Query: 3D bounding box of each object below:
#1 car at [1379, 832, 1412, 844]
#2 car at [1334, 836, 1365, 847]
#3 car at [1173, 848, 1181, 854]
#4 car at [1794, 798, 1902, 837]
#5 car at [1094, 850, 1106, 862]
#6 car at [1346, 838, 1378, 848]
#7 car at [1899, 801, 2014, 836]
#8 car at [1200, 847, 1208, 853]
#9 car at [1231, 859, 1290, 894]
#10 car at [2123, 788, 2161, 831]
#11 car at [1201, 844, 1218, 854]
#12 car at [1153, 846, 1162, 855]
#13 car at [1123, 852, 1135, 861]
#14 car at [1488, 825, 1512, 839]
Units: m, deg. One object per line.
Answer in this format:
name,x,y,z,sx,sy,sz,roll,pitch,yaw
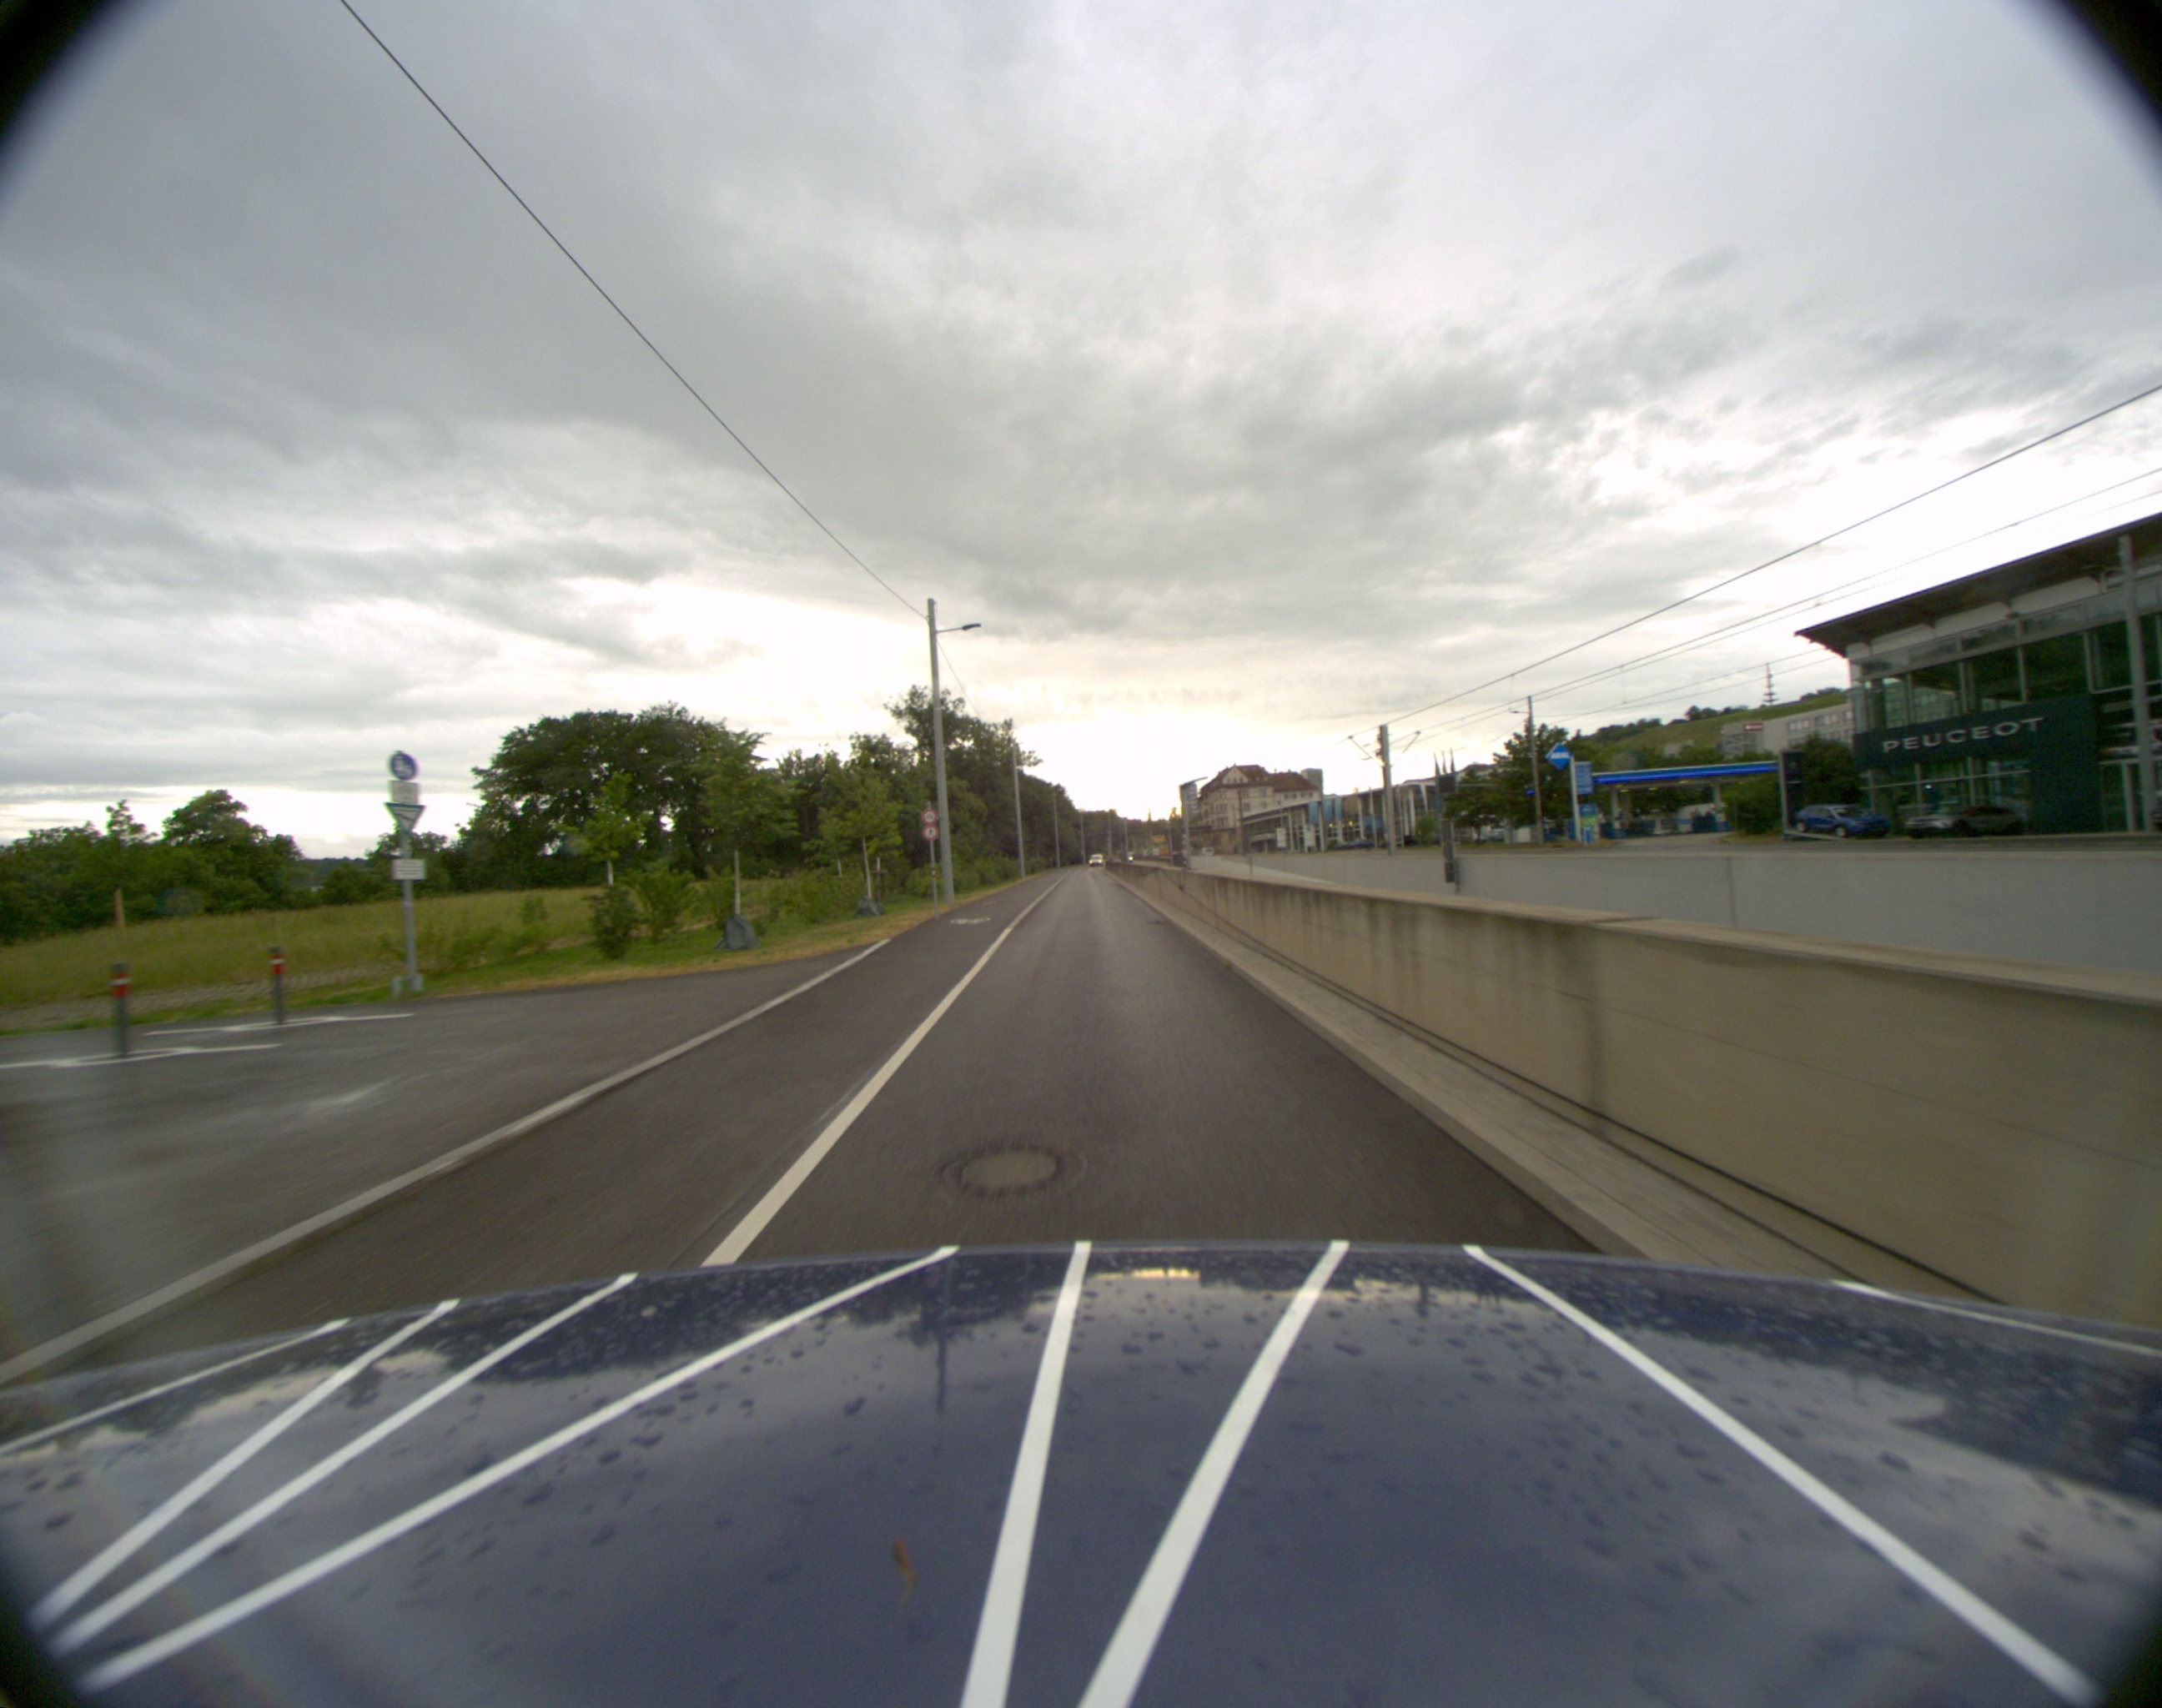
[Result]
car,39.537,-1.966,95.573,3.523,1.267,1.717,-4,1,5
car,38.804,-1.792,109.952,4.003,1.227,1.701,-4,-2,-20
car,26.908,-0.736,212.397,1.746,1.507,4.340,-3,0,0
car,39.185,-1.915,38.982,1.765,1.601,4.065,-6,5,8
car,2.830,0.309,116.096,1.710,1.585,4.000,-4,0,1
car,39.690,-1.576,107.387,4.003,1.228,1.758,-4,1,-20
car,39.662,-1.597,34.465,3.512,1.394,1.574,1,-1,-3
car,28.689,-0.854,176.891,1.385,1.292,2.801,-4,0,0
car,9.191,1.096,39.217,1.982,1.564,4.319,-3,0,1
car,39.717,-1.668,26.777,3.489,1.465,1.750,-3,0,1
car,23.725,-0.841,140.379,2.006,1.685,5.034,-4,0,0
car,24.286,-1.128,240.081,2.056,2.583,6.164,-4,0,0
car,8.516,0.394,135.321,1.710,1.521,4.000,-4,0,1
car,51.990,-2.765,94.338,1.385,1.564,2.801,-4,0,-1
